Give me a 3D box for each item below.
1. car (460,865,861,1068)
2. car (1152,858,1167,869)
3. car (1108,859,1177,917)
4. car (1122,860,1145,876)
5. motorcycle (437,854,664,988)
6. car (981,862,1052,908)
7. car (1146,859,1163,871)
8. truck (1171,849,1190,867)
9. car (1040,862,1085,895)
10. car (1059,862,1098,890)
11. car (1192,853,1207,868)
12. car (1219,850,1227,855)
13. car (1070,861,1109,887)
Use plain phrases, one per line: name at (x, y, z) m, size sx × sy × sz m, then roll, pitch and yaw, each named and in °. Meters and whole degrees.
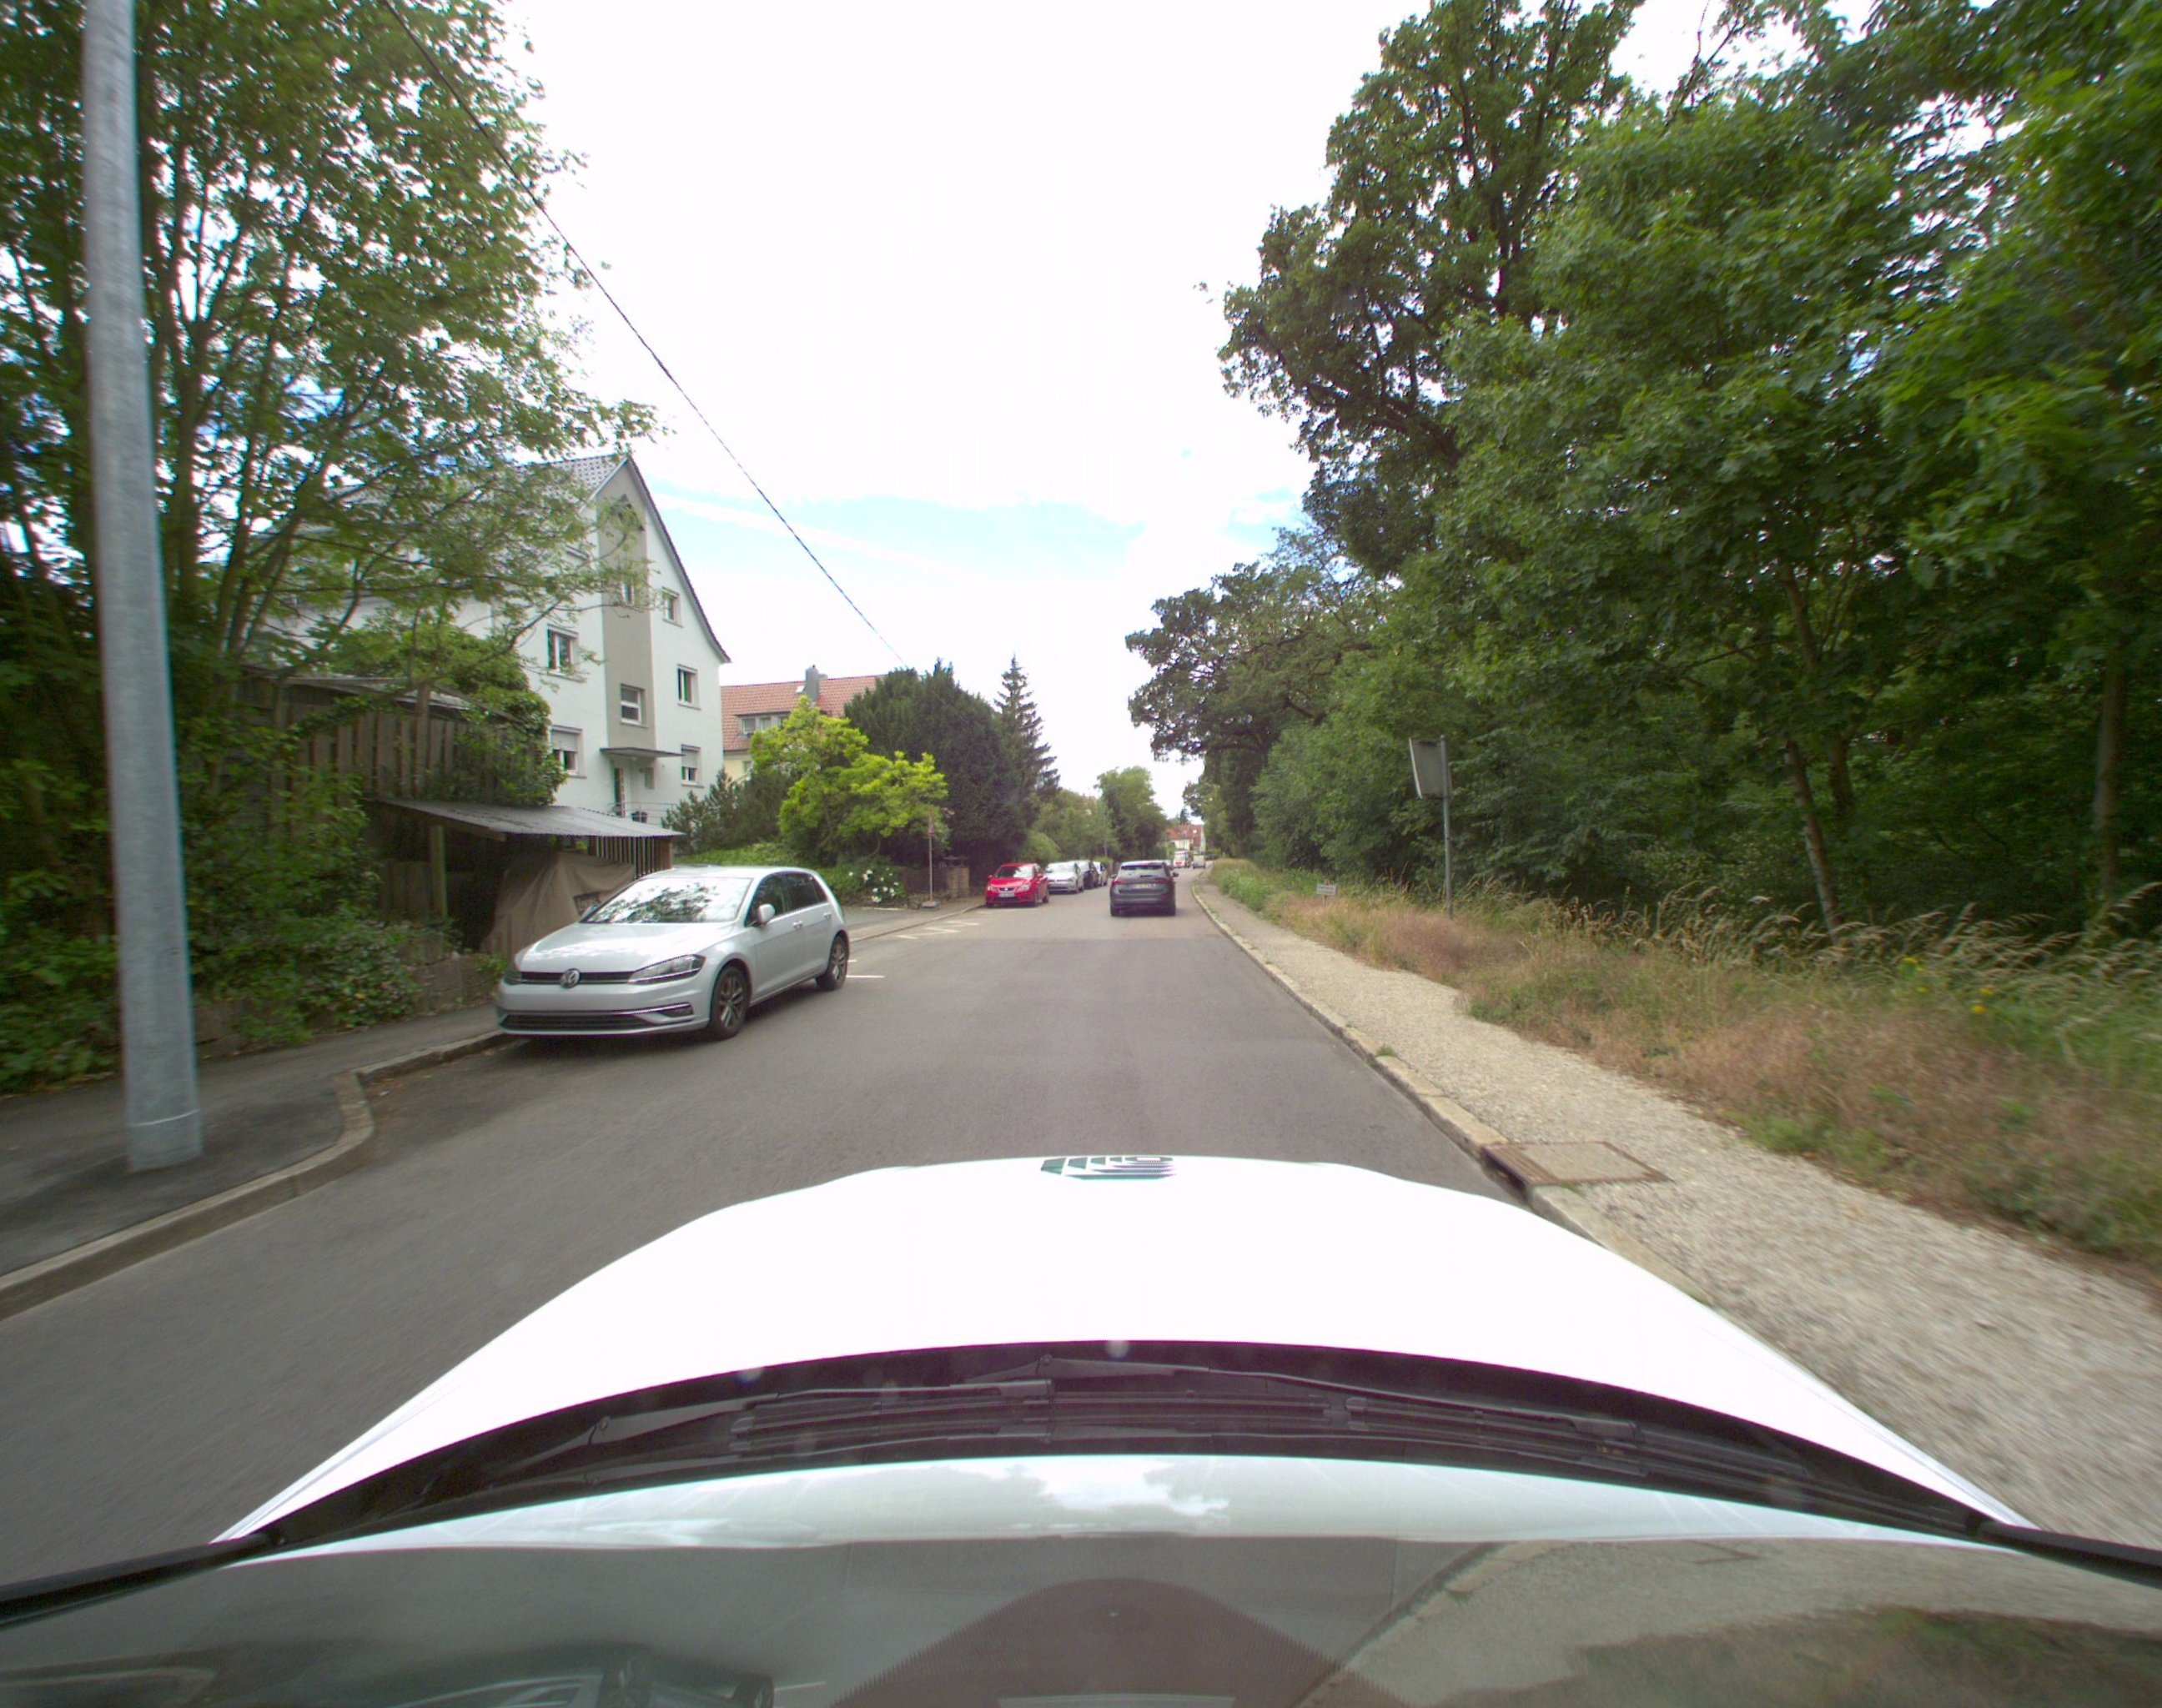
car at (-3.709, 0.868, 8.133) m, size 1.698 × 1.468 × 4.079 m, roll -1°, pitch 0°, yaw 3°
car at (10.162, 1.183, 105.428) m, size 1.738 × 1.404 × 4.010 m, roll -1°, pitch 0°, yaw 9°
car at (1.708, 0.878, 22.692) m, size 1.727 × 1.447 × 4.185 m, roll -1°, pitch 0°, yaw 4°
car at (4.941, 1.284, 75.581) m, size 1.738 × 1.404 × 4.010 m, roll -1°, pitch 0°, yaw 9°
motorcycle at (-6.626, 0.746, 10.475) m, size 0.806 × 1.485 × 2.900 m, roll -1°, pitch 0°, yaw 5°
car at (-2.098, 1.010, 27.562) m, size 1.626 × 1.404 × 4.008 m, roll -1°, pitch 0°, yaw 7°
car at (8.603, 1.255, 94.927) m, size 1.738 × 1.404 × 4.010 m, roll -1°, pitch 0°, yaw 9°
truck at (17.109, 0.646, 139.709) m, size 2.747 × 2.793 × 9.292 m, roll -1°, pitch 0°, yaw 9°
car at (-0.806, 1.089, 37.879) m, size 1.741 × 1.404 × 4.004 m, roll -1°, pitch 0°, yaw 4°
car at (-0.077, 1.127, 43.330) m, size 1.741 × 1.404 × 4.004 m, roll -1°, pitch 0°, yaw 4°
car at (18.167, 0.976, 124.933) m, size 2.193 × 2.063 × 6.149 m, roll -1°, pitch 0°, yaw 8°
car at (37.528, -0.404, 215.442) m, size 1.725 × 1.447 × 4.008 m, roll -1°, pitch 0°, yaw 7°
car at (0.561, 1.145, 48.124) m, size 1.738 × 1.404 × 4.010 m, roll -1°, pitch 0°, yaw 9°
